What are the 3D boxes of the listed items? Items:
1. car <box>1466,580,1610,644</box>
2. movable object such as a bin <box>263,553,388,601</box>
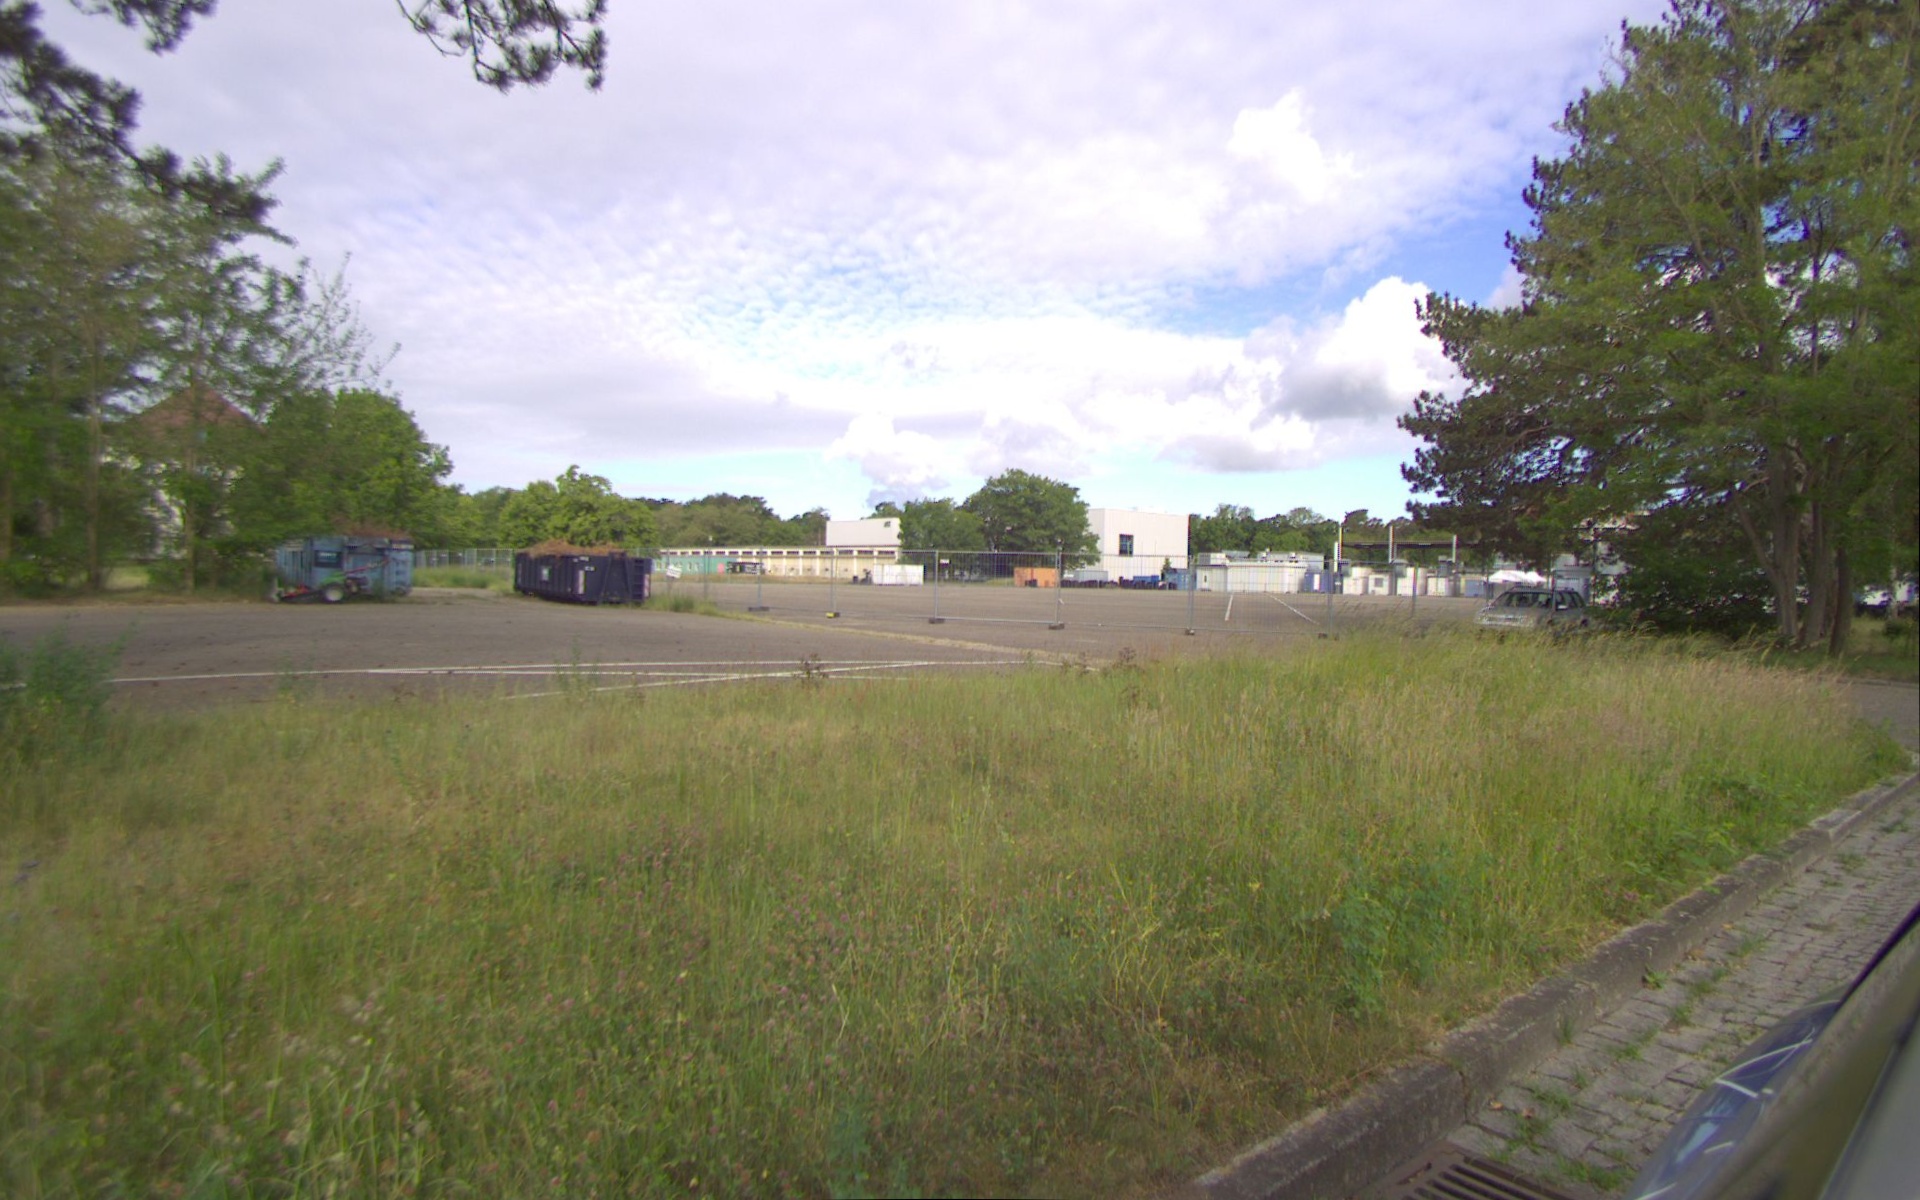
[{"bbox_3d":[14.955,0.270,26.090,4.248,1.466,1.760,0,2,-39],"label":"car"},{"bbox_3d":[-15.821,-0.556,25.292,2.498,1.097,1.064,2,1,-41],"label":"movable object such as a bin"}]
